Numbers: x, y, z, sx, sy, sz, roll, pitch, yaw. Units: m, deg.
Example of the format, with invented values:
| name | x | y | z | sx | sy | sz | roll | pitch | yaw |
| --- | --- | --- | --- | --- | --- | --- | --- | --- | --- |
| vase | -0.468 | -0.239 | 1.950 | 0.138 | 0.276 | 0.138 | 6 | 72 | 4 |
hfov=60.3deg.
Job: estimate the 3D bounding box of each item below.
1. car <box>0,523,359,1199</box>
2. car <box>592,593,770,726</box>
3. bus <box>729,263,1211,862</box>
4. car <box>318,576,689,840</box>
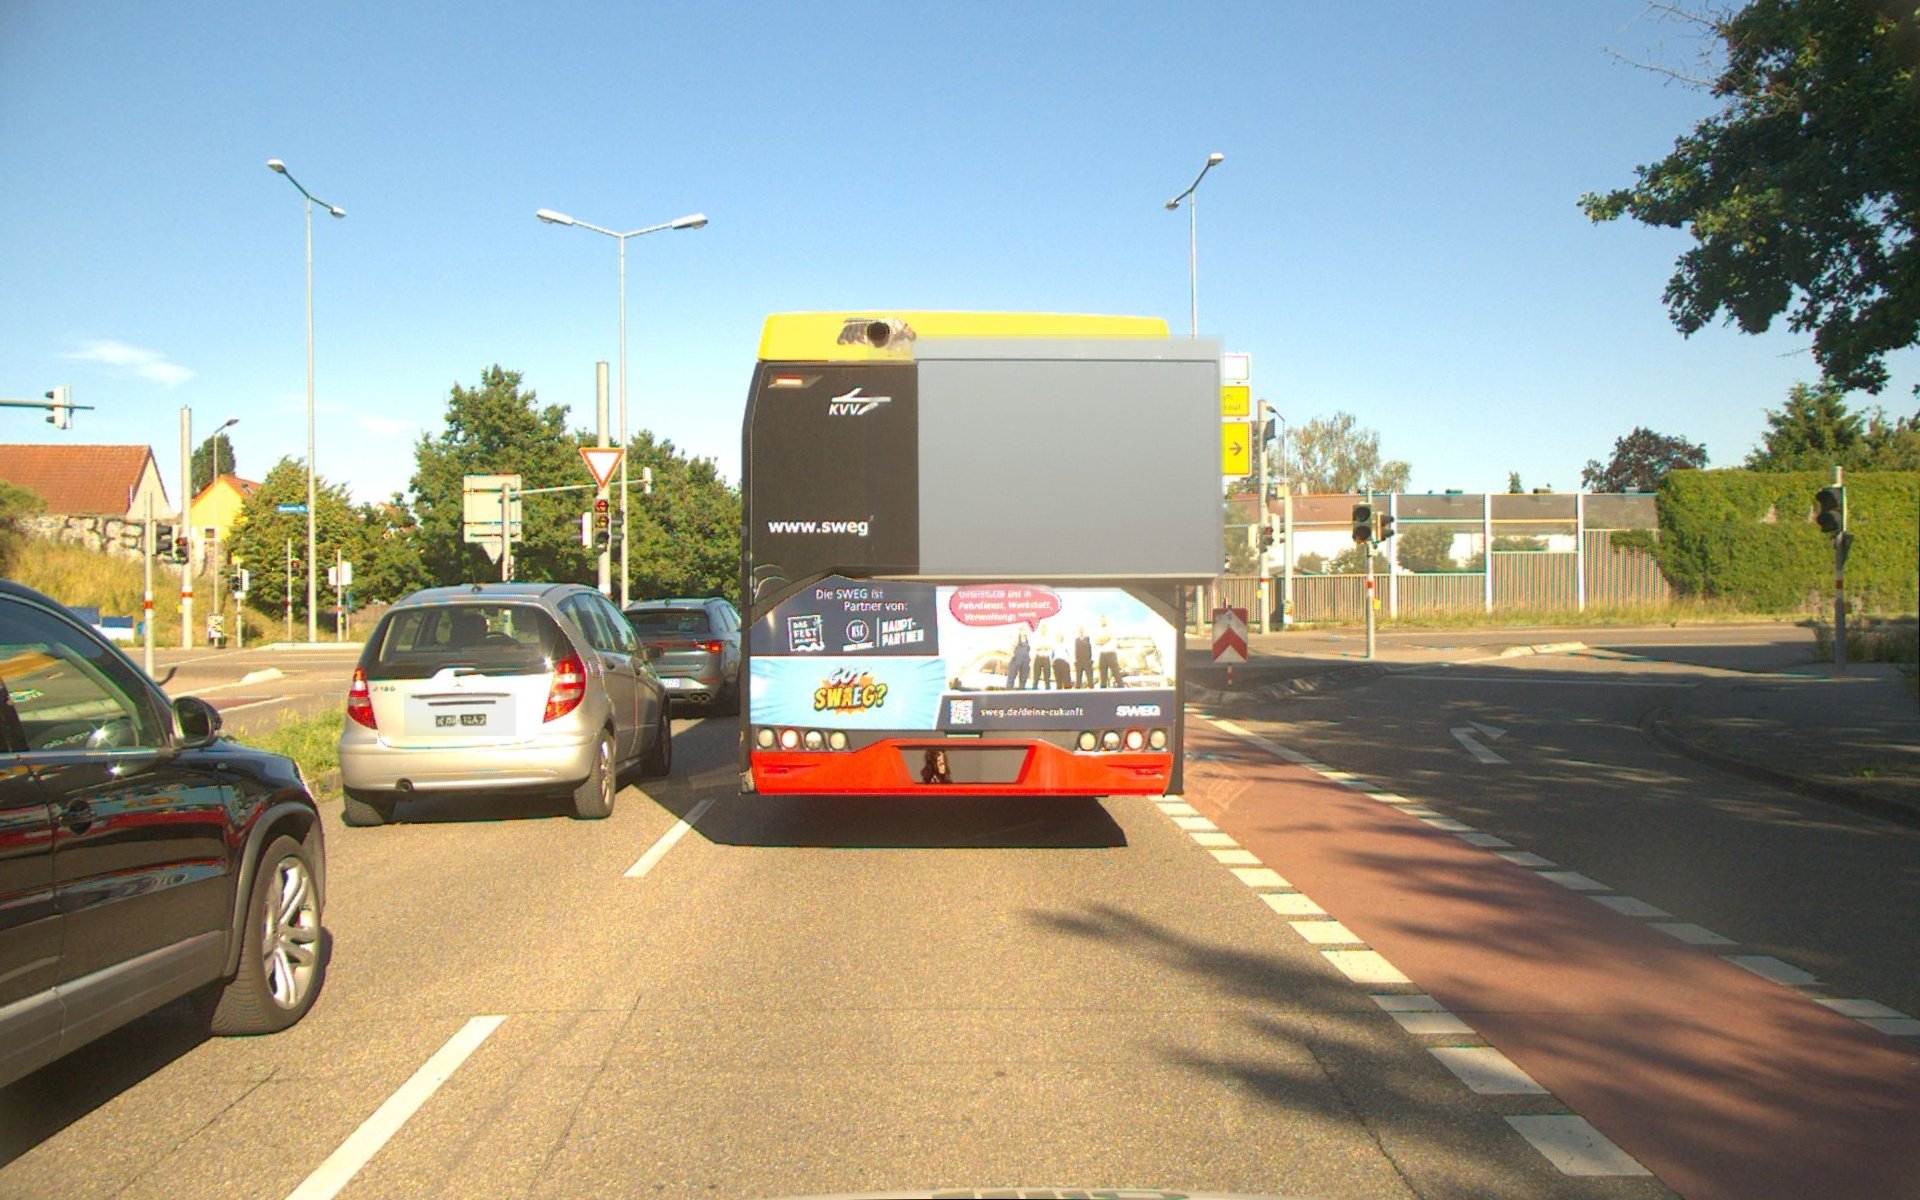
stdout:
| name | x | y | z | sx | sy | sz | roll | pitch | yaw |
| --- | --- | --- | --- | --- | --- | --- | --- | --- | --- |
| car | -3.145 | 0.688 | 4.300 | 1.736 | 1.682 | 3.999 | -2 | 0 | -1 |
| car | -3.451 | 0.679 | 21.055 | 1.658 | 1.484 | 3.750 | -2 | 0 | -1 |
| bus | 0.020 | -0.252 | 14.890 | 2.589 | 3.222 | 11.860 | 0 | 0 | 0 |
| car | -3.227 | 0.674 | 12.508 | 1.725 | 1.617 | 3.999 | -2 | 0 | -1 |
